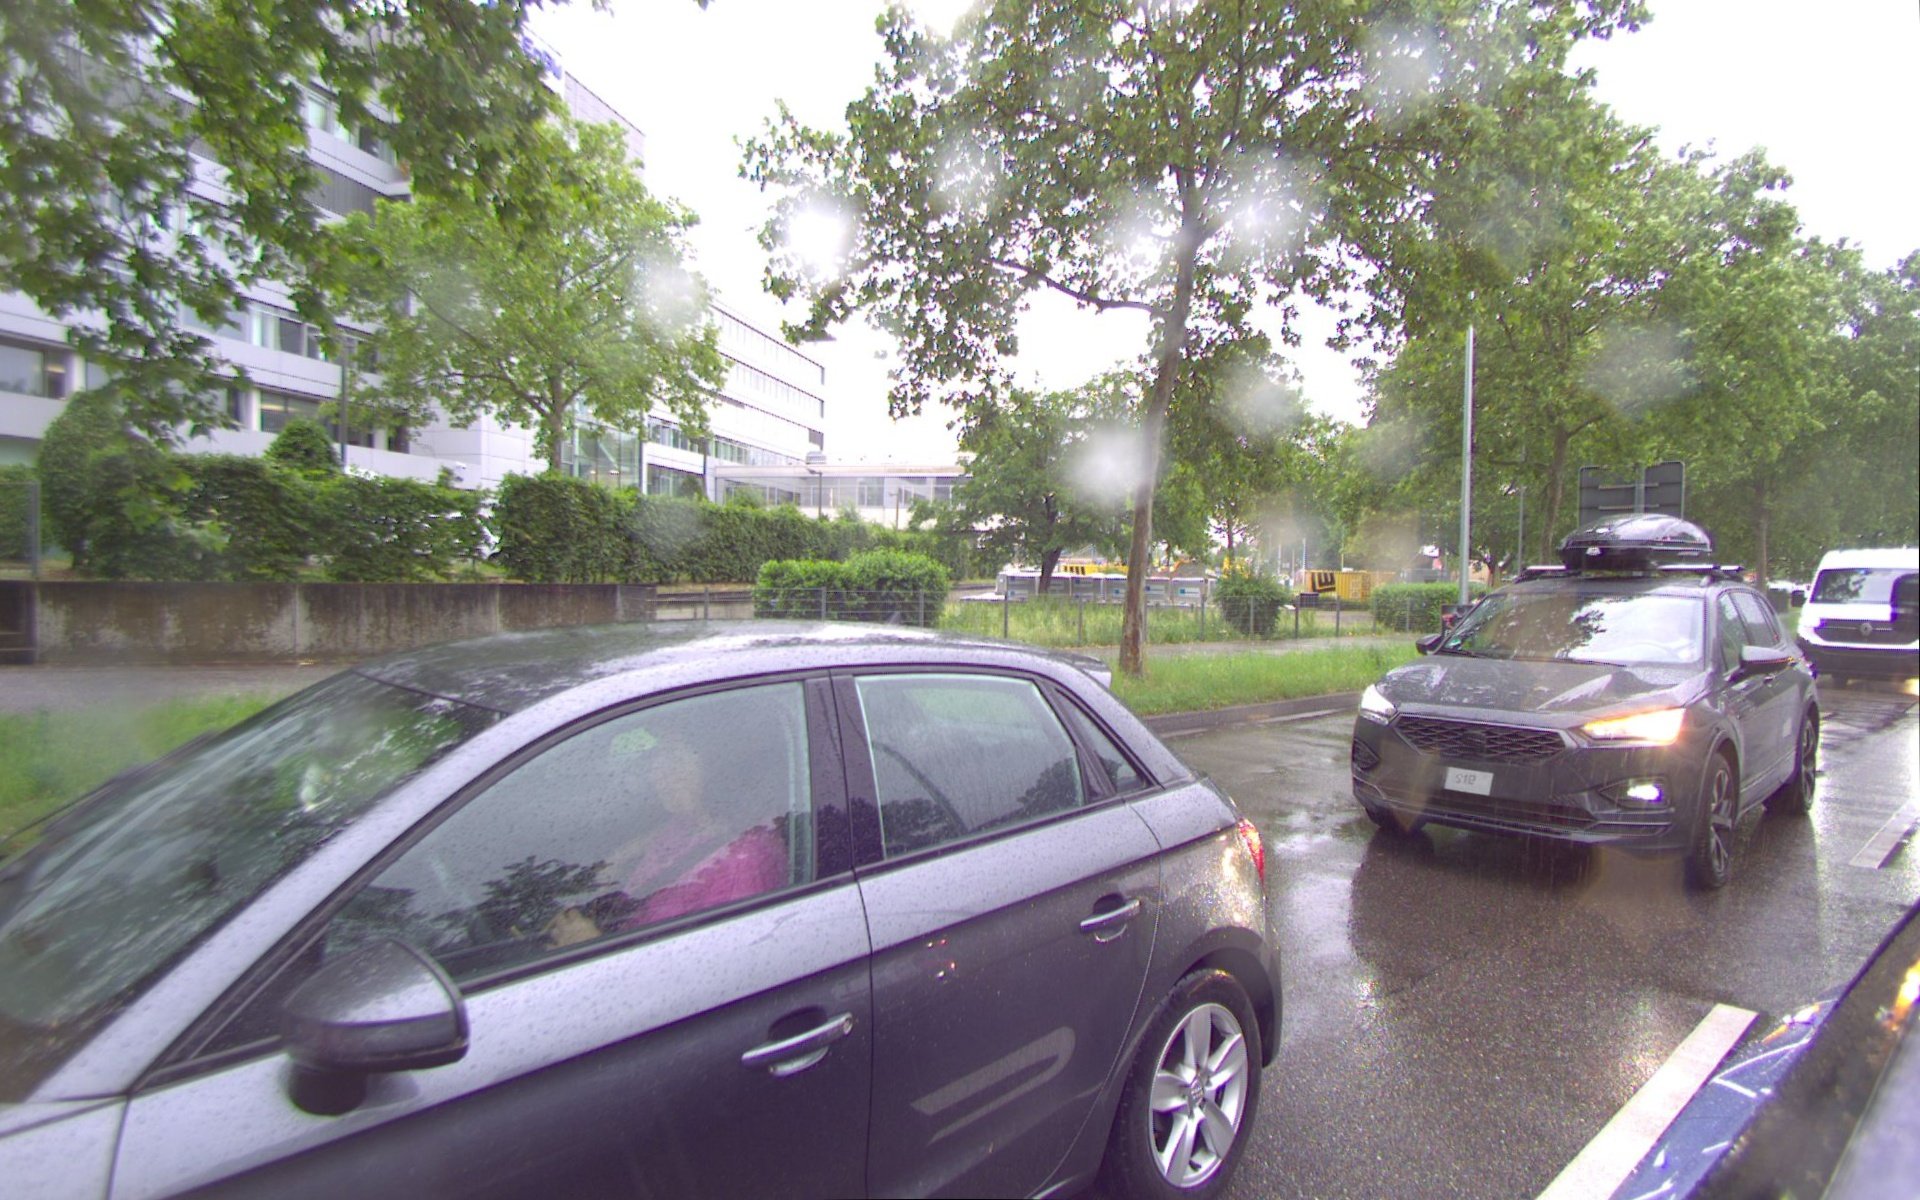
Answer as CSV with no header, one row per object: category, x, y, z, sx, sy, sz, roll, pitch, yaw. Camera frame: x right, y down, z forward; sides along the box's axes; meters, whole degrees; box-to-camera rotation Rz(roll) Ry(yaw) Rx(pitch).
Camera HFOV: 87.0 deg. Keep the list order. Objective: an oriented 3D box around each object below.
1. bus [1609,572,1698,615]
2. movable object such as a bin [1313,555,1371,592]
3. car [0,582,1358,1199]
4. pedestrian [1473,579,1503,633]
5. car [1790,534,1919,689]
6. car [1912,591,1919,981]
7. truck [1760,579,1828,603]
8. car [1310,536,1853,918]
bus,43.733,-0.421,63.919,1.681,2.600,4.366,0,0,-41
movable object such as a bin,36.162,-2.517,95.843,4.838,3.478,1.921,0,0,-7
car,-0.870,0.696,2.152,3.715,1.446,1.679,0,1,-41
pedestrian,17.244,0.190,33.052,0.645,1.738,0.645,0,0,-40
car,16.871,0.162,18.495,5.227,2.476,1.892,0,1,-43
car,6.331,0.176,4.958,5.599,2.544,2.024,0,1,-43
truck,85.200,-0.920,103.470,4.988,2.406,1.785,0,0,19
car,4.320,0.546,6.711,4.347,1.719,1.892,0,1,-42
